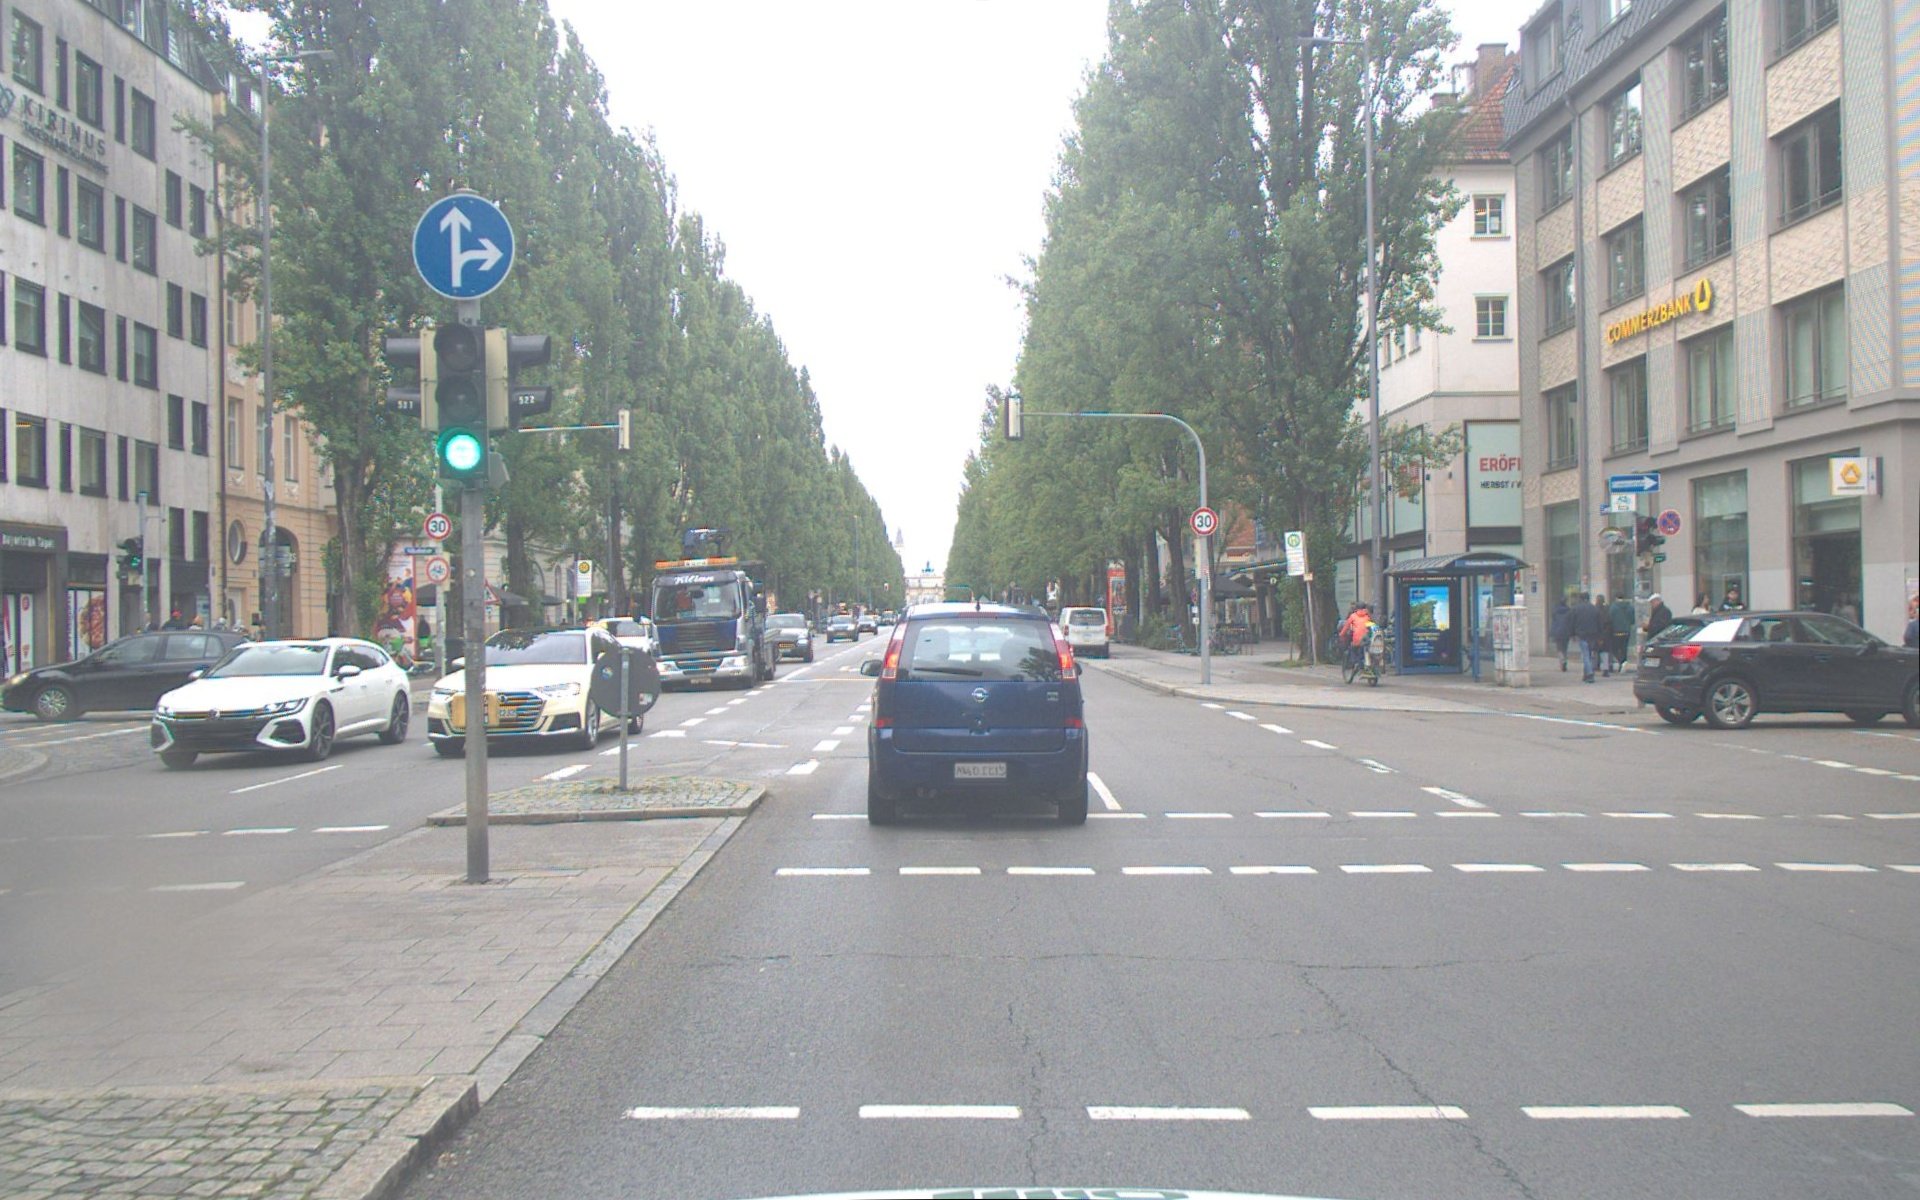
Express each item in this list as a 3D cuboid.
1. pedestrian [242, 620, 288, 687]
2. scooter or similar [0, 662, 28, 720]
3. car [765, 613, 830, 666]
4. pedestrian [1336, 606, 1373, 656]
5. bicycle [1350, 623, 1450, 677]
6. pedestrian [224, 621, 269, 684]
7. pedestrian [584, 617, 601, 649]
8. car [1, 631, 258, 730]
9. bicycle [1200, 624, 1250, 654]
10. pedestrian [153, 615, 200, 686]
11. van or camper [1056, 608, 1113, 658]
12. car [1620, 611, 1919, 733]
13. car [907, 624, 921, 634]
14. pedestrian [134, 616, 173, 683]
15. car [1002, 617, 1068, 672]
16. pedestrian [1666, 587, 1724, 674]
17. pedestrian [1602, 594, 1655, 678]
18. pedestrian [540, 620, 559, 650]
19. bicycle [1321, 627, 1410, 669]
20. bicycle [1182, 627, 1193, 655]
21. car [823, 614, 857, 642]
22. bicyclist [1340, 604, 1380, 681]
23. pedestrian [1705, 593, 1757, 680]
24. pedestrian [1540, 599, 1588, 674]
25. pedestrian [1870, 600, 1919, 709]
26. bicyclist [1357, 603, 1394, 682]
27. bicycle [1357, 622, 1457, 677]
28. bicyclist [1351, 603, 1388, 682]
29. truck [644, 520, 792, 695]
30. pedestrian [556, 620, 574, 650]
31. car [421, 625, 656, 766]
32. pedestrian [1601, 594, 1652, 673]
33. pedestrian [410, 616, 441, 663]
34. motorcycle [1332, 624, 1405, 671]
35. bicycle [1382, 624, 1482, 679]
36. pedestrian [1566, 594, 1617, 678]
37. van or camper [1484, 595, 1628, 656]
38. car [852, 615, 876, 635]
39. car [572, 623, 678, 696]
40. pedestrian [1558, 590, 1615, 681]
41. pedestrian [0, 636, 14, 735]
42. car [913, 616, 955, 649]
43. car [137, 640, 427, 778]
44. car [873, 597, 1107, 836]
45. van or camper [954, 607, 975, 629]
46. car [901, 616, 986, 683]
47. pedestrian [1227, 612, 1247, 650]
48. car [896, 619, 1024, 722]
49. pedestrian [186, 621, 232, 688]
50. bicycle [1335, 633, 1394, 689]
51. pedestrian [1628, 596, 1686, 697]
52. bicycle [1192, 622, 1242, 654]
[{"bbox_3d":[-17.618,1.345,41.959,0.762,1.647,0.934,-1,-1,-2],"label":"pedestrian"},{"bbox_3d":[-18.497,1.762,31.938,0.798,1.112,0.274,1,-1,-5],"label":"scooter or similar"},{"bbox_3d":[-5.633,1.348,57.744,1.846,1.777,4.438,-1,-1,-1],"label":"car"},{"bbox_3d":[13.726,1.066,57.513,0.977,1.703,0.814,0,-1,-38],"label":"pedestrian"},{"bbox_3d":[10.834,1.226,40.781,2.296,1.274,0.633,-1,-1,-2],"label":"bicycle"},{"bbox_3d":[-18.407,1.346,42.658,0.735,1.595,0.989,-1,-1,-1],"label":"pedestrian"},{"bbox_3d":[-19.549,1.755,87.948,0.719,1.702,0.952,-1,-1,-1],"label":"pedestrian"},{"bbox_3d":[-13.853,1.307,27.819,3.637,1.501,1.762,-1,-1,-20],"label":"car"},{"bbox_3d":[9.429,1.387,58.849,1.727,1.062,0.482,-1,-1,-13],"label":"bicycle"},{"bbox_3d":[-20.363,1.304,42.999,0.783,1.819,0.911,1,-1,-1],"label":"pedestrian"},{"bbox_3d":[4.947,1.315,66.264,1.831,1.916,4.901,0,-1,-1],"label":"van or camper"},{"bbox_3d":[11.044,0.923,21.882,3.904,1.487,1.760,-1,-1,2],"label":"car"},{"bbox_3d":[-6.259,3.948,225.395,1.922,1.424,3.777,-1,-1,-2],"label":"car"},{"bbox_3d":[-22.200,1.352,45.538,0.684,1.819,0.820,-1,-1,0],"label":"pedestrian"},{"bbox_3d":[2.211,1.328,49.718,1.672,1.602,3.998,0,-1,-2],"label":"car"},{"bbox_3d":[15.343,0.630,34.564,0.734,1.789,1.017,-1,-1,0],"label":"pedestrian"},{"bbox_3d":[14.596,0.797,36.124,0.734,1.789,0.859,-1,-3,0],"label":"pedestrian"},{"bbox_3d":[-21.247,1.815,85.597,0.753,1.564,0.804,-1,-1,-2],"label":"pedestrian"},{"bbox_3d":[10.632,1.257,43.431,2.104,1.035,0.874,-1,-1,-2],"label":"bicycle"},{"bbox_3d":[8.844,1.572,64.352,0.357,1.056,1.731,-1,-1,7],"label":"bicycle"},{"bbox_3d":[-7.538,1.733,104.262,1.874,1.710,4.584,-1,-1,-1],"label":"car"},{"bbox_3d":[8.547,0.903,35.353,0.609,1.616,0.752,-1,-1,-2],"label":"bicyclist"},{"bbox_3d":[16.149,0.757,34.654,0.734,1.789,0.710,-1,-1,0],"label":"pedestrian"},{"bbox_3d":[13.970,0.835,38.284,0.734,1.706,0.963,-1,-1,0],"label":"pedestrian"},{"bbox_3d":[14.775,0.841,25.730,0.734,1.665,0.734,-2,-3,1],"label":"pedestrian"},{"bbox_3d":[8.582,0.881,34.176,0.609,1.616,0.391,-1,-1,-2],"label":"bicyclist"},{"bbox_3d":[10.818,1.191,40.055,2.268,1.274,0.477,-1,-1,-2],"label":"bicycle"},{"bbox_3d":[8.567,0.889,34.593,0.609,1.616,0.481,-1,-1,-2],"label":"bicyclist"},{"bbox_3d":[-5.647,0.207,39.888,2.413,3.734,8.437,-1,-1,-1],"label":"truck"},{"bbox_3d":[-20.439,1.815,85.522,0.753,1.564,0.804,-1,-1,-2],"label":"pedestrian"},{"bbox_3d":[-5.238,1.117,21.257,1.806,1.528,4.984,-2,-1,-1],"label":"car"},{"bbox_3d":[15.146,0.754,37.601,0.734,1.748,0.963,-1,-1,0],"label":"pedestrian"},{"bbox_3d":[-20.538,1.516,63.565,0.826,1.774,0.954,0,-1,0],"label":"pedestrian"},{"bbox_3d":[10.285,1.194,41.658,1.689,1.160,0.510,-1,-1,0],"label":"motorcycle"},{"bbox_3d":[11.070,1.207,38.792,2.194,1.274,0.477,-1,-1,23],"label":"bicycle"},{"bbox_3d":[13.796,0.791,36.142,0.734,1.789,0.859,-1,-3,0],"label":"pedestrian"},{"bbox_3d":[19.235,0.820,53.507,4.019,1.900,1.898,0,-1,3],"label":"van or camper"},{"bbox_3d":[-8.168,2.099,140.845,1.896,1.652,4.335,-1,-1,-1],"label":"car"},{"bbox_3d":[-8.684,1.502,43.273,1.800,1.746,4.635,-2,-1,0],"label":"car"},{"bbox_3d":[12.945,0.733,34.185,0.801,1.850,0.890,-1,-1,-3],"label":"pedestrian"},{"bbox_3d":[-17.544,1.535,29.541,0.712,1.771,0.941,0,-1,-2],"label":"pedestrian"},{"bbox_3d":[-1.264,1.523,79.397,1.953,1.524,3.998,-1,-1,-2],"label":"car"},{"bbox_3d":[-8.288,1.269,20.719,1.786,1.432,4.631,-2,-1,-1],"label":"car"},{"bbox_3d":[0.142,0.837,13.635,1.647,1.670,3.998,0,-1,-2],"label":"car"},{"bbox_3d":[0.521,2.218,202.697,2.426,2.626,5.842,-1,-1,-1],"label":"van or camper"},{"bbox_3d":[-0.444,1.159,40.147,1.953,1.524,3.998,-1,-1,-2],"label":"car"},{"bbox_3d":[13.898,1.535,83.046,0.809,1.873,1.099,-1,-1,2],"label":"pedestrian"},{"bbox_3d":[-0.069,1.106,27.449,1.953,1.524,3.998,-1,-1,-2],"label":"car"},{"bbox_3d":[-19.559,1.404,43.093,0.717,1.711,0.977,1,-1,-1],"label":"pedestrian"},{"bbox_3d":[8.562,1.277,35.097,0.614,1.106,2.262,-1,-1,-2],"label":"bicycle"},{"bbox_3d":[12.553,0.826,29.801,0.694,1.789,0.752,-1,-1,0],"label":"pedestrian"},{"bbox_3d":[9.257,1.367,59.545,1.707,1.130,0.447,-1,-1,-12],"label":"bicycle"}]
